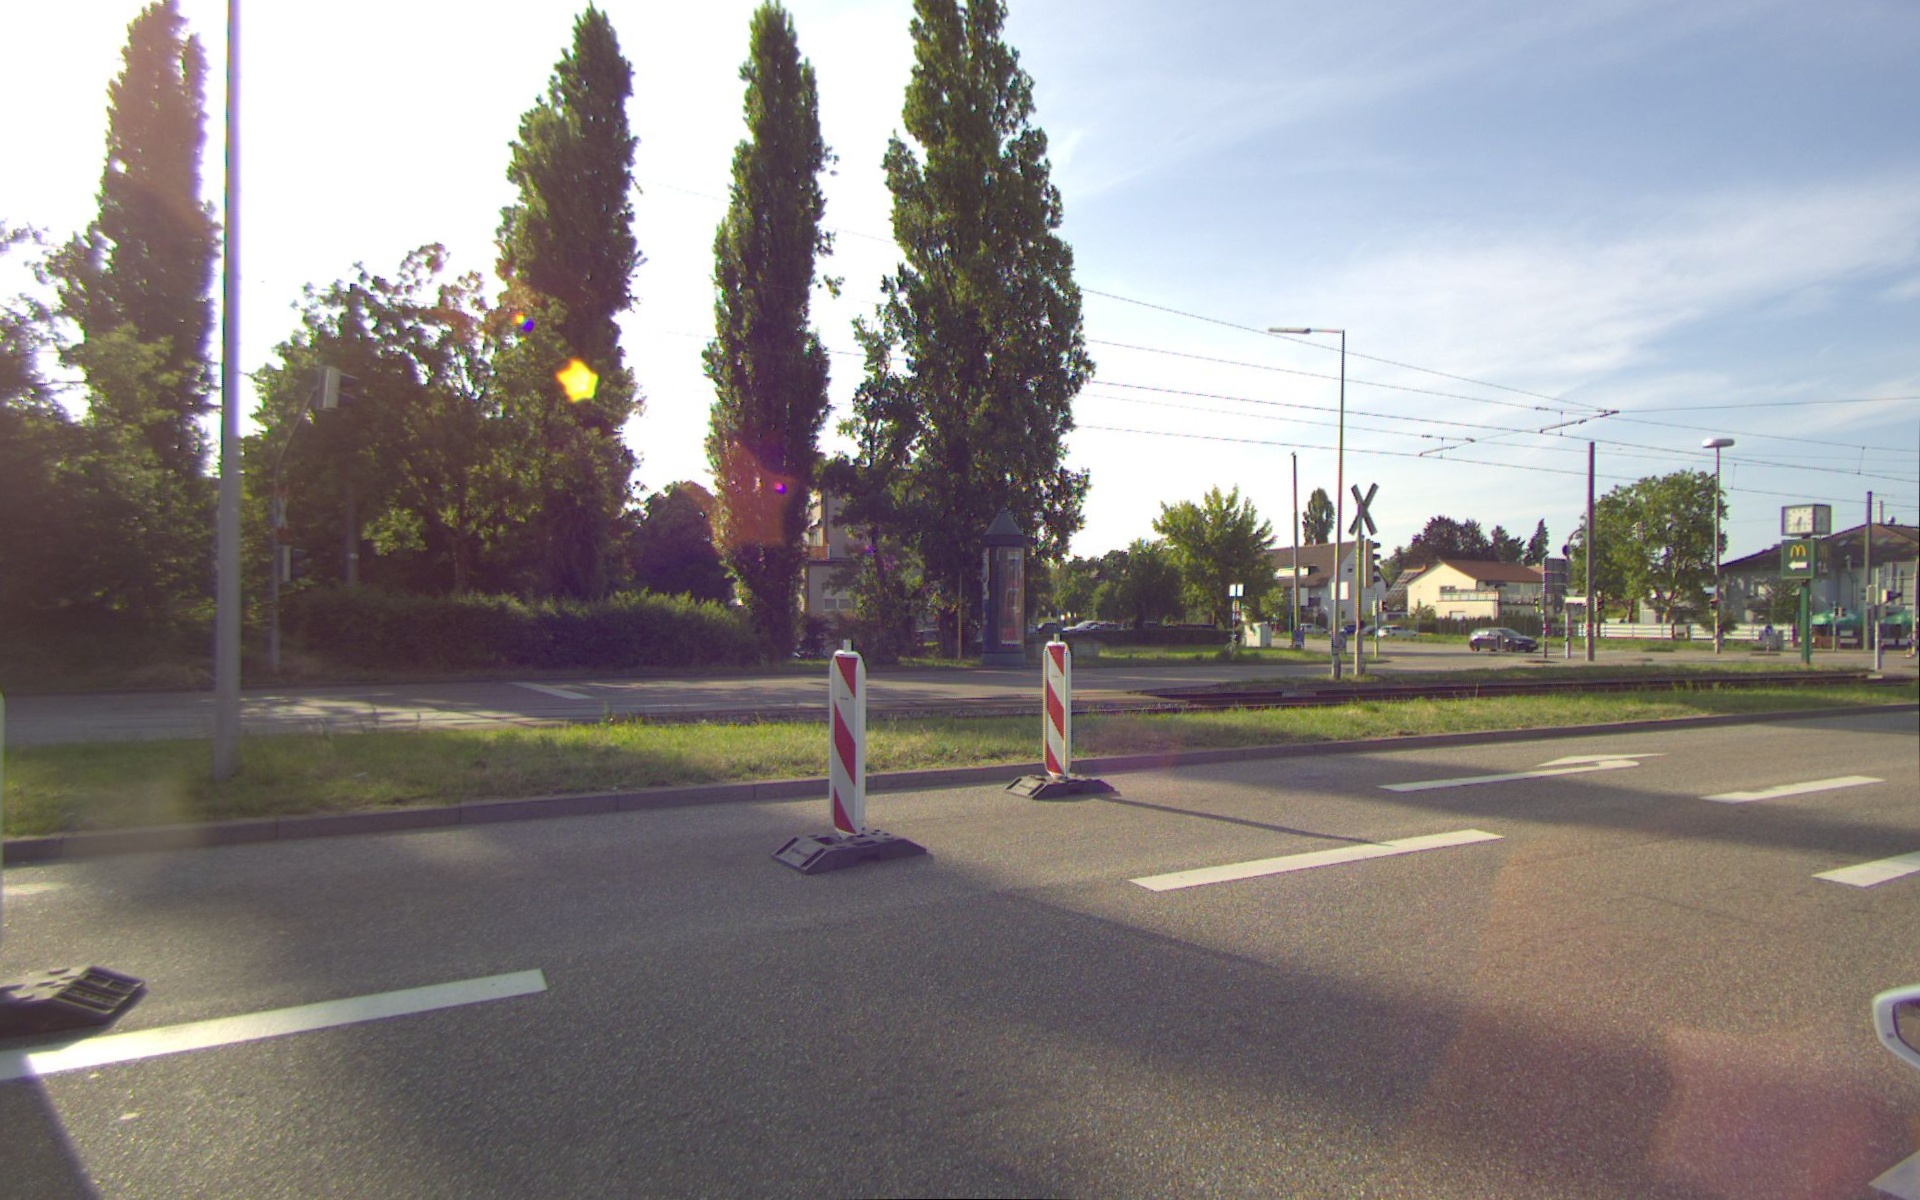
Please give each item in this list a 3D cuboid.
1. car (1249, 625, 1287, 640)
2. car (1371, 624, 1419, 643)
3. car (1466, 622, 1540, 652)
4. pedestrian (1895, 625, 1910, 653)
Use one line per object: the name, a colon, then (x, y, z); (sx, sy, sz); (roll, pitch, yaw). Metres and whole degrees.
car: (32.578, 3.420, 106.409); (1.968, 1.505, 3.986); (1, -1, -17)
car: (43.612, 3.341, 100.629); (4.155, 1.706, 1.991); (2, 0, -20)
car: (33.229, 2.240, 61.564); (1.498, 1.816, 3.977); (1, -1, -24)
pedestrian: (55.853, 2.309, 59.506); (0.533, 1.620, 0.509); (1, -1, -30)
